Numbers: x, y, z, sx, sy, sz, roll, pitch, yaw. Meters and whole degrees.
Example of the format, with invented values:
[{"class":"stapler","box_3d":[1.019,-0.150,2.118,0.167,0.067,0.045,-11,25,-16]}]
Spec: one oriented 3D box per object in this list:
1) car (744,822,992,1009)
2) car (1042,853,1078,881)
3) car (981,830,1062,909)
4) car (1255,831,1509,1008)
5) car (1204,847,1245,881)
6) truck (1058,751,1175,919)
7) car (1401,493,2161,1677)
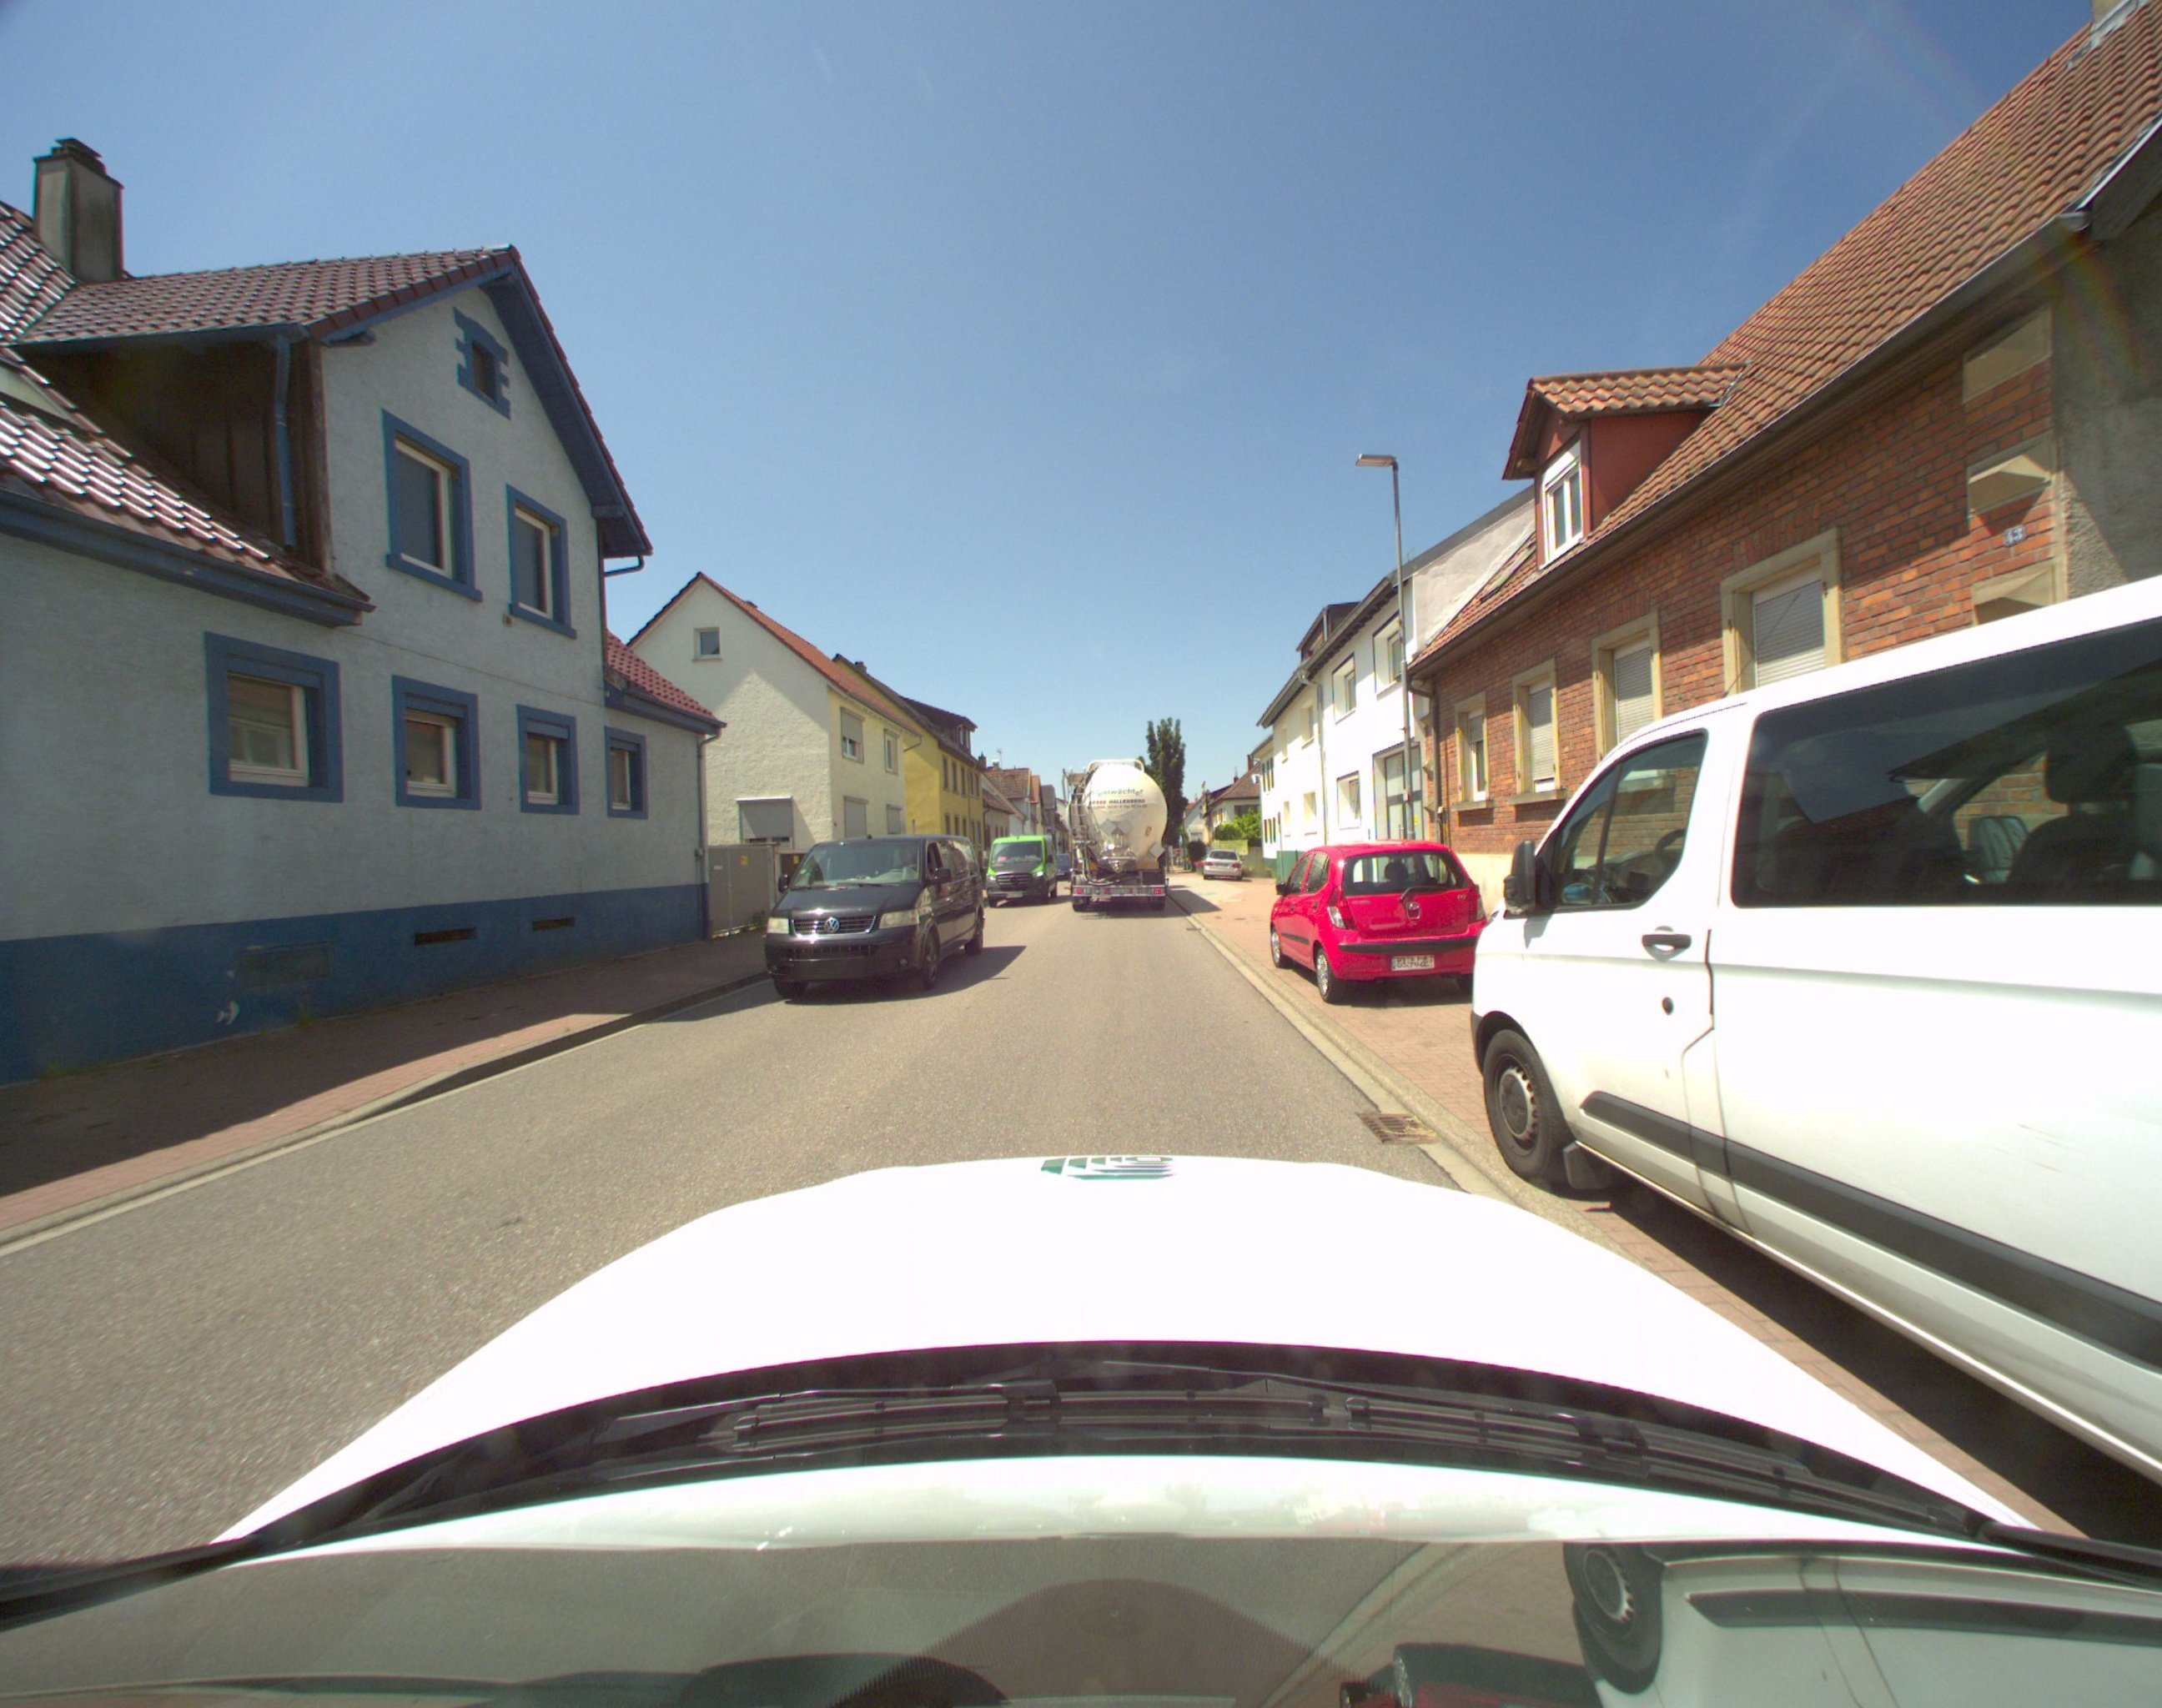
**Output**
[{"class":"car","box_3d":[-2.619,0.665,11.500,1.874,1.943,5.120,-3,0,2]},{"class":"car","box_3d":[-1.203,0.742,48.821,1.758,1.536,4.081,-4,0,2]},{"class":"car","box_3d":[-1.940,0.470,28.721,2.043,2.353,6.085,-3,0,2]},{"class":"car","box_3d":[3.130,0.590,9.246,1.603,1.528,3.679,-3,0,3]},{"class":"car","box_3d":[7.021,0.432,39.602,1.803,1.462,4.900,2,1,11]},{"class":"truck","box_3d":[0.965,-0.445,23.511,2.722,3.960,8.144,-1,0,2]},{"class":"car","box_3d":[2.763,0.352,2.188,1.939,1.970,4.786,-3,0,1]}]
